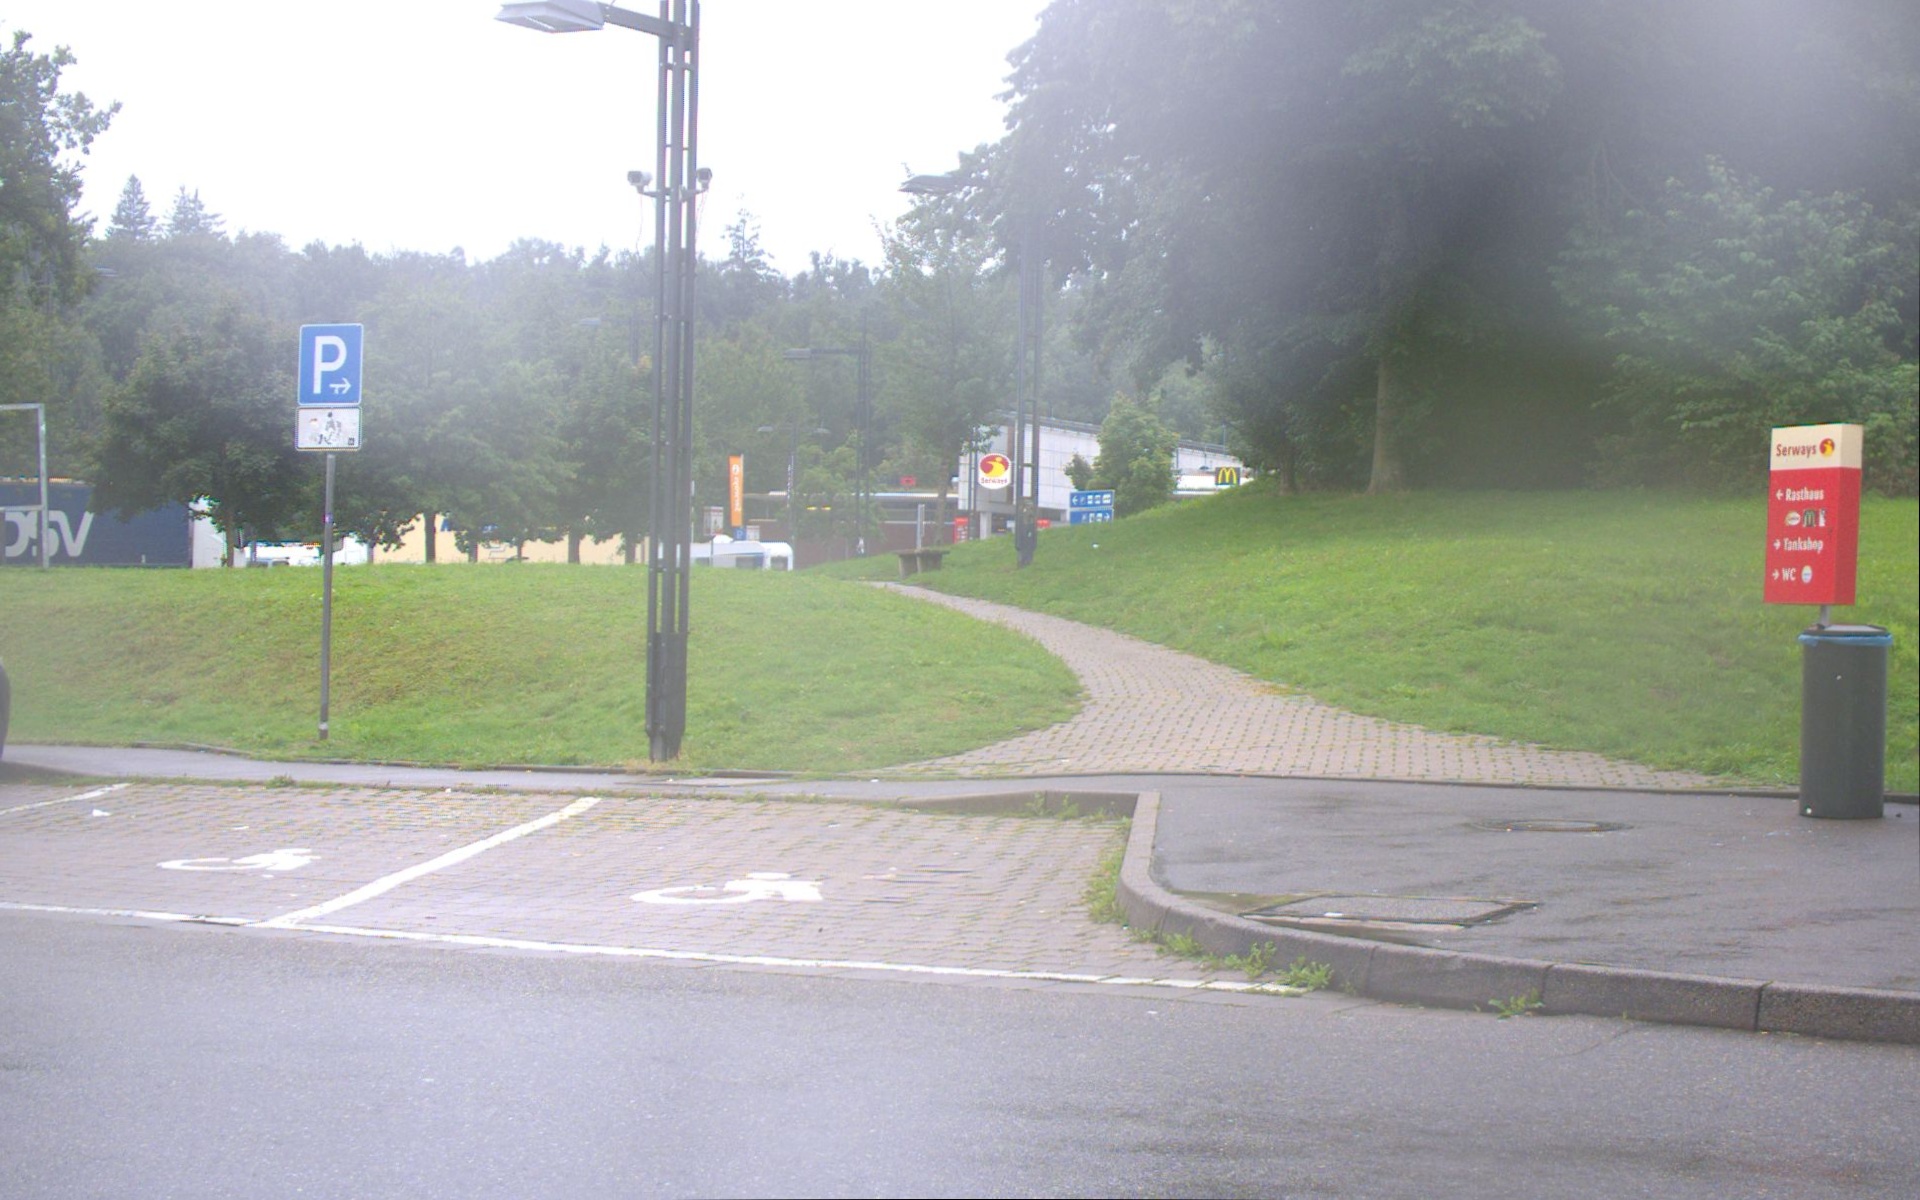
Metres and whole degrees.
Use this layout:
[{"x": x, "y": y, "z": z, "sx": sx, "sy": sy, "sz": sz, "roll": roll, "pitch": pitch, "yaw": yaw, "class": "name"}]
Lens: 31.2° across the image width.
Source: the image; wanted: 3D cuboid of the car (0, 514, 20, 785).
[{"x": -7.763, "y": 0.373, "z": 21.460, "sx": 1.885, "sy": 1.821, "sz": 4.411, "roll": 0, "pitch": 1, "yaw": 11, "class": "car"}]

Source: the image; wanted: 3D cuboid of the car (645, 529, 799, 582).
[{"x": -9.247, "y": -1.738, "z": 133.788, "sx": 5.429, "sy": 2.007, "sz": 2.453, "roll": 1, "pitch": 1, "yaw": 20, "class": "car"}]
